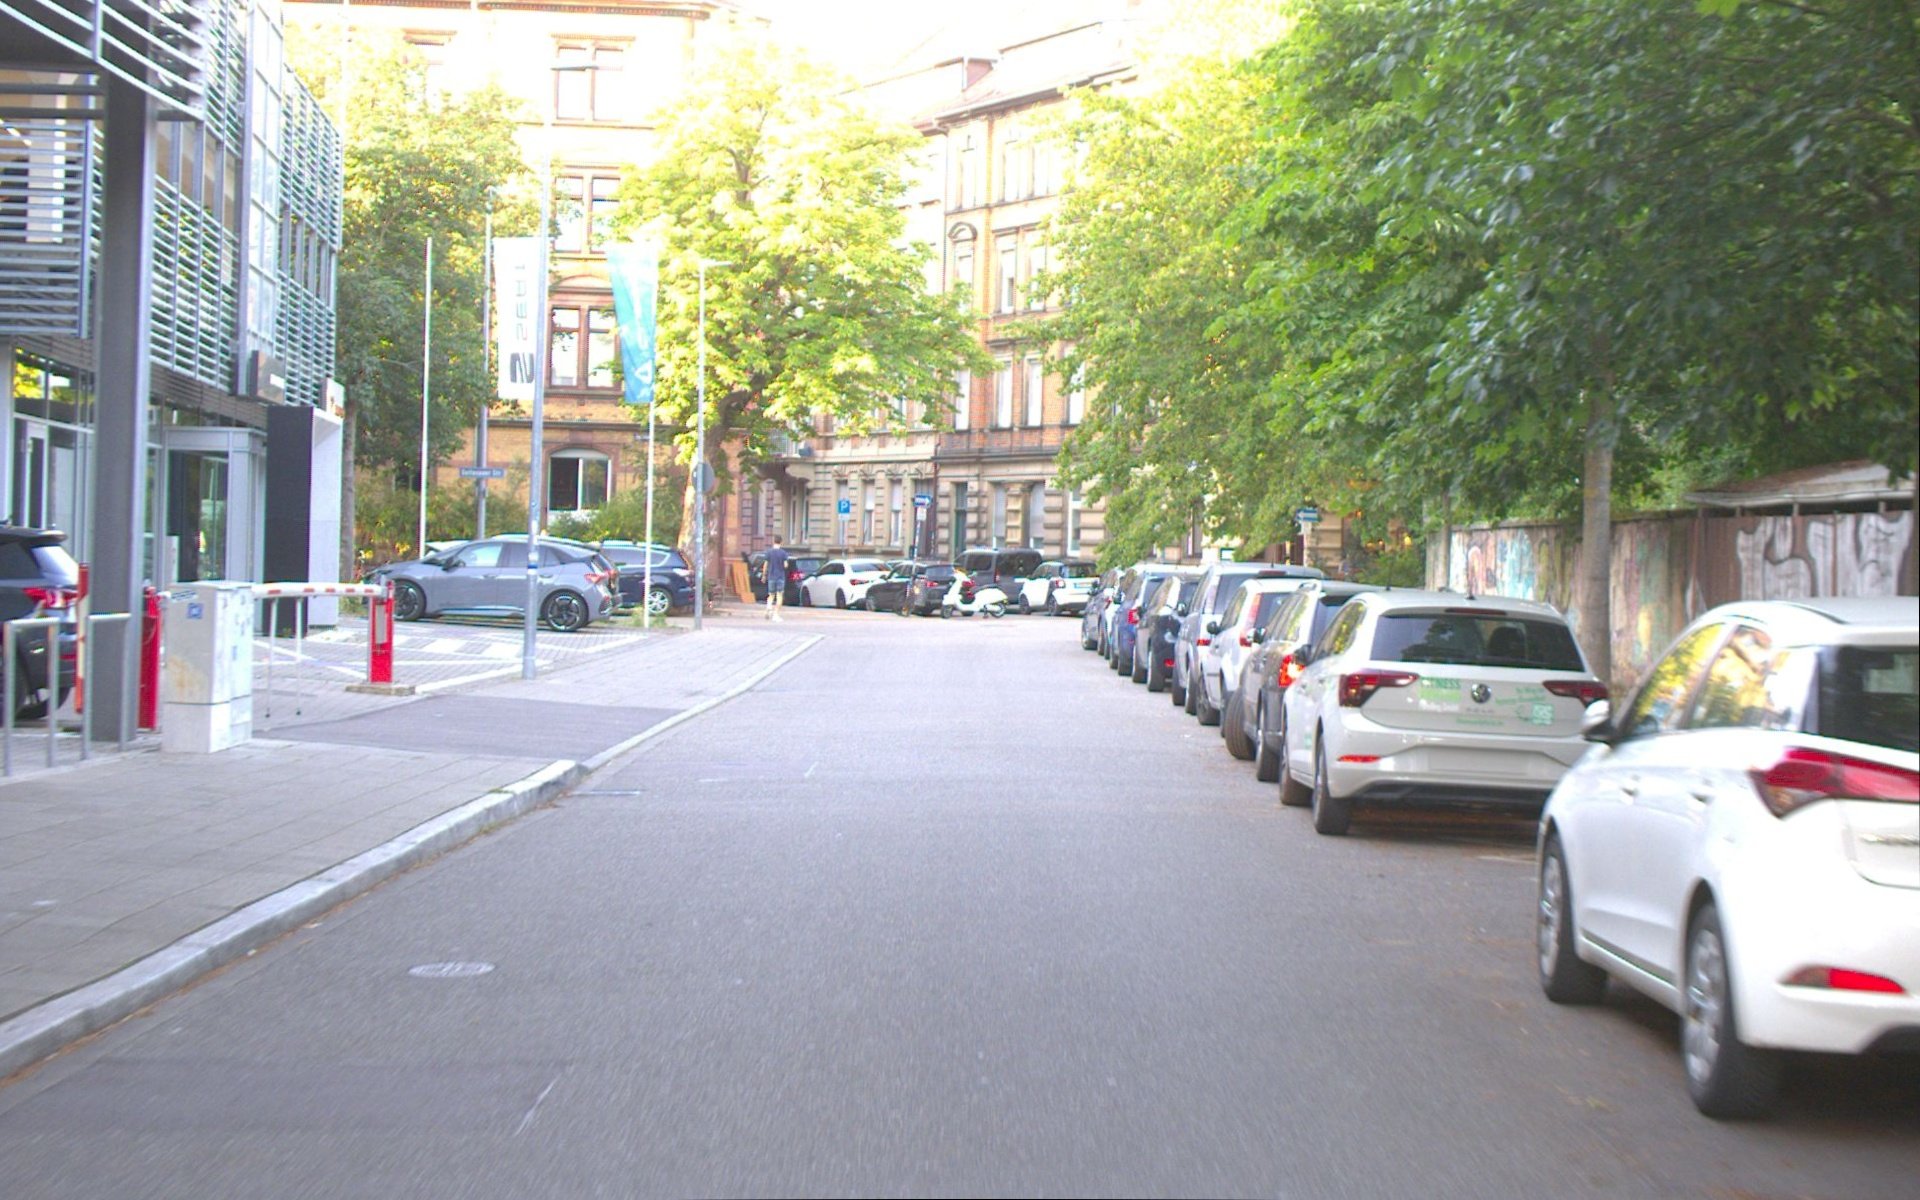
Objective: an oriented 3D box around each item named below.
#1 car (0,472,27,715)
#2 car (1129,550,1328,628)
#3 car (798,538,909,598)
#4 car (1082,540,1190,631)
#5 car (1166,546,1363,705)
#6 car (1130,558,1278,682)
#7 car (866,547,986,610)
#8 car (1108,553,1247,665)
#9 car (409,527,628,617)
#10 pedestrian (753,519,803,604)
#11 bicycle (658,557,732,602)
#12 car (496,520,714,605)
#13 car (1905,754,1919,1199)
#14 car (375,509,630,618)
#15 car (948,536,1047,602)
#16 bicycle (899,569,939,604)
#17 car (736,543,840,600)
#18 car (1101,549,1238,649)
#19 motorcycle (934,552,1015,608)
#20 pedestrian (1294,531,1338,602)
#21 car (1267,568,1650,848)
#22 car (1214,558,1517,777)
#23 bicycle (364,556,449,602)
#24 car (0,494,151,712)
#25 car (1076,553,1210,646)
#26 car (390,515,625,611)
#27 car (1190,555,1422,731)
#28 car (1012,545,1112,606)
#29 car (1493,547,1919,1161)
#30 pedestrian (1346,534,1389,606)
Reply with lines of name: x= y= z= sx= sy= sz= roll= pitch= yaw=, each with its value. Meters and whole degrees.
car: x=-8.668 y=-0.083 z=23.417 sx=4.080 sy=1.678 sz=1.860 roll=1 pitch=2 yaw=1
car: x=5.486 y=-0.214 z=69.973 sx=1.880 sy=1.461 sz=3.961 roll=4 pitch=2 yaw=44
car: x=-2.954 y=-0.891 z=94.417 sx=1.654 sy=1.426 sz=4.168 roll=2 pitch=2 yaw=-22
car: x=3.199 y=-0.289 z=63.187 sx=1.695 sy=1.565 sz=3.972 roll=1 pitch=1 yaw=-1
car: x=3.242 y=0.233 z=37.238 sx=1.759 sy=1.598 sz=3.874 roll=1 pitch=1 yaw=0
car: x=3.093 y=0.225 z=44.105 sx=1.597 sy=1.471 sz=3.774 roll=1 pitch=1 yaw=0
car: x=-0.912 y=-0.581 z=89.811 sx=1.654 sy=1.426 sz=3.991 roll=2 pitch=2 yaw=-23
car: x=3.051 y=0.098 z=48.859 sx=1.695 sy=1.471 sz=4.117 roll=1 pitch=1 yaw=0
car: x=-8.570 y=-0.560 z=67.052 sx=4.045 sy=1.470 sz=1.921 roll=3 pitch=2 yaw=-3
pedestrian: x=-3.943 y=-0.842 z=74.476 sx=0.735 sy=1.798 sz=1.122 roll=1 pitch=2 yaw=-20
bicycle: x=-6.257 y=-0.475 z=81.140 sx=1.671 sy=1.024 sz=0.446 roll=1 pitch=2 yaw=-23
car: x=-8.093 y=-0.864 z=78.523 sx=4.828 sy=1.726 sz=1.921 roll=2 pitch=2 yaw=-6
car: x=2.849 y=0.753 z=5.700 sx=1.563 sy=1.445 sz=3.454 roll=1 pitch=2 yaw=0
car: x=-7.902 y=-0.644 z=59.614 sx=4.129 sy=1.612 sz=1.913 roll=3 pitch=2 yaw=-1
car: x=1.045 y=-0.898 z=98.312 sx=1.674 sy=1.776 sz=3.016 roll=2 pitch=2 yaw=-24
bicycle: x=-1.011 y=-0.332 z=84.398 sx=0.425 sy=0.819 sz=1.460 roll=2 pitch=2 yaw=22
car: x=-4.966 y=-0.822 z=98.731 sx=1.654 sy=1.426 sz=3.897 roll=2 pitch=2 yaw=-24
car: x=3.243 y=-0.042 z=53.746 sx=1.695 sy=1.471 sz=3.560 roll=1 pitch=1 yaw=-3
motorcycle: x=0.354 y=-0.506 z=86.494 sx=1.931 sy=1.336 sz=0.577 roll=1 pitch=2 yaw=-10
pedestrian: x=9.244 y=-0.867 z=89.380 sx=0.840 sy=1.798 sz=0.776 roll=1 pitch=2 yaw=-20
car: x=2.974 y=0.590 z=21.283 sx=1.759 sy=1.437 sz=4.006 roll=1 pitch=2 yaw=0
car: x=2.993 y=0.443 z=26.192 sx=1.759 sy=1.449 sz=4.392 roll=1 pitch=1 yaw=0
bicycle: x=-12.654 y=-0.475 z=78.633 sx=1.854 sy=1.024 sz=0.446 roll=1 pitch=2 yaw=-23
car: x=-8.351 y=-0.007 z=26.042 sx=3.986 sy=1.580 sz=1.860 roll=1 pitch=-1 yaw=-1
car: x=3.050 y=-0.037 z=58.157 sx=1.695 sy=1.471 sz=4.213 roll=1 pitch=1 yaw=-4
car: x=-8.247 y=-0.694 z=62.853 sx=4.067 sy=1.612 sz=1.765 roll=1 pitch=2 yaw=-1
car: x=3.174 y=0.355 z=32.199 sx=1.759 sy=1.436 sz=3.874 roll=1 pitch=2 yaw=0
car: x=2.796 y=-0.684 z=94.805 sx=1.674 sy=1.520 sz=2.768 roll=2 pitch=1 yaw=-24
car: x=2.894 y=0.644 z=10.918 sx=1.722 sy=1.514 sz=4.026 roll=1 pitch=2 yaw=0
pedestrian: x=10.316 y=-0.765 z=87.018 sx=0.773 sy=1.798 sz=0.843 roll=1 pitch=2 yaw=-14
